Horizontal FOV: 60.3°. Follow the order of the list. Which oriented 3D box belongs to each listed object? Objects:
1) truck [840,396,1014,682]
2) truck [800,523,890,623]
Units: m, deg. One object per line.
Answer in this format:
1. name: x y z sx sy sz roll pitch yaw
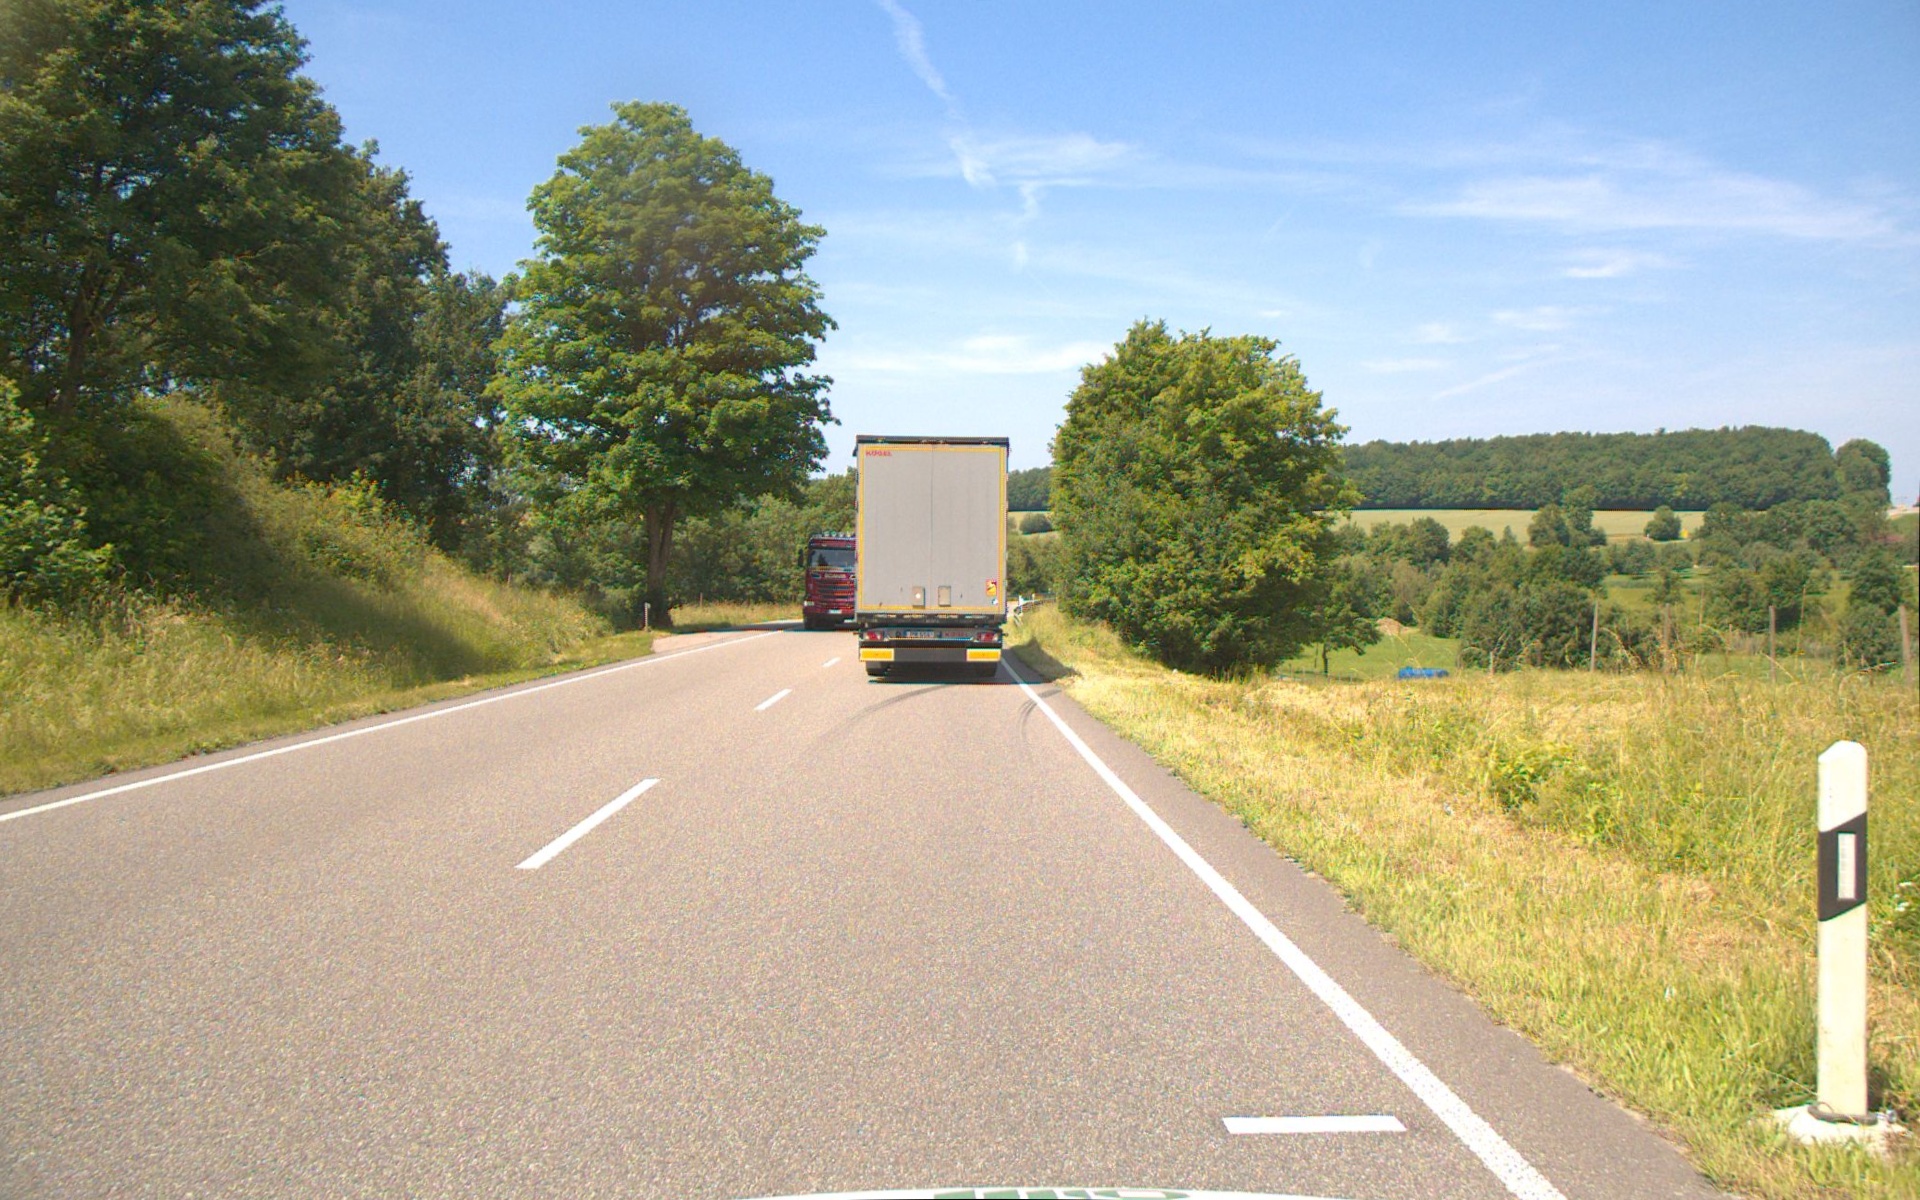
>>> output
1. truck: -0.580 -1.051 32.856 2.760 4.611 11.767 1 1 0
2. truck: -4.342 -0.992 63.924 2.478 3.622 7.764 0 0 3
